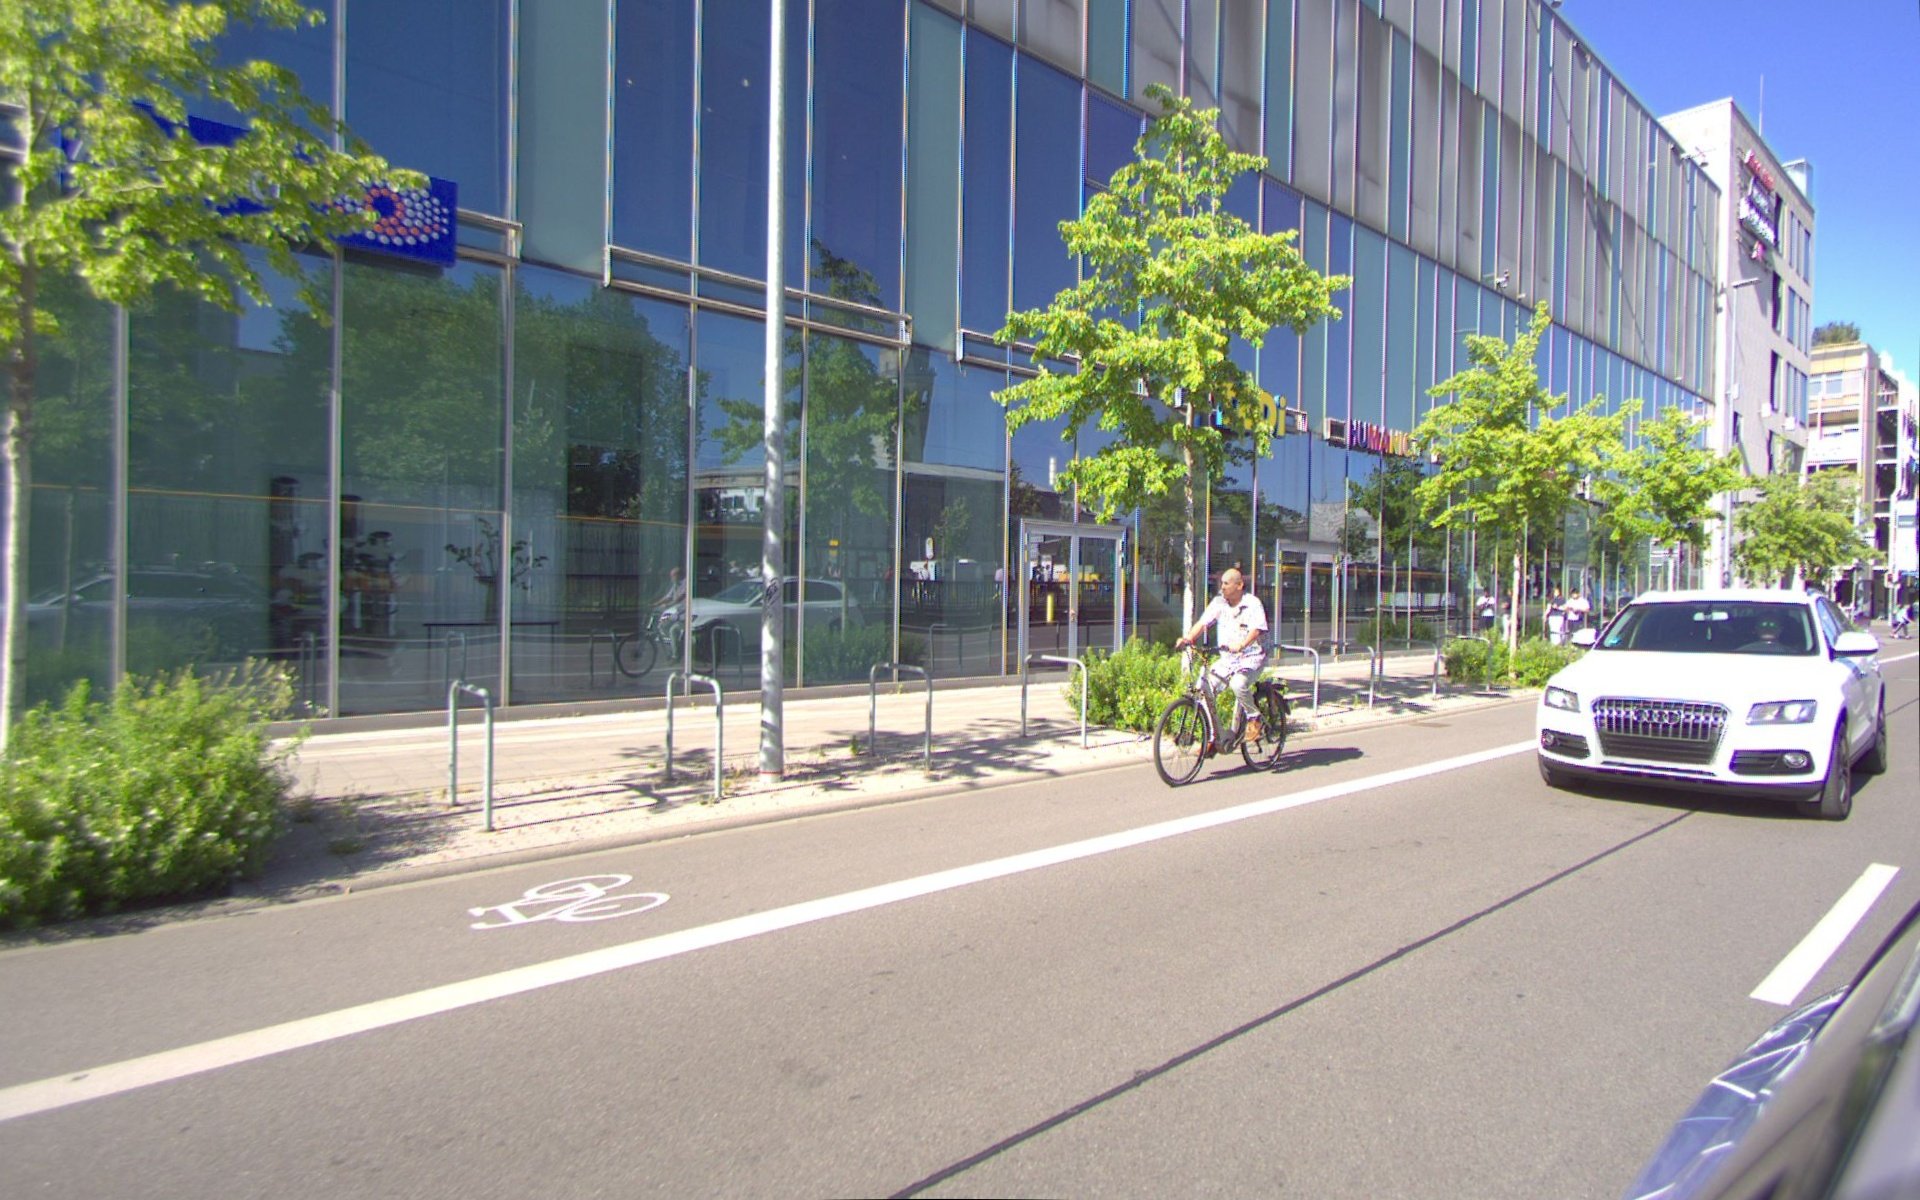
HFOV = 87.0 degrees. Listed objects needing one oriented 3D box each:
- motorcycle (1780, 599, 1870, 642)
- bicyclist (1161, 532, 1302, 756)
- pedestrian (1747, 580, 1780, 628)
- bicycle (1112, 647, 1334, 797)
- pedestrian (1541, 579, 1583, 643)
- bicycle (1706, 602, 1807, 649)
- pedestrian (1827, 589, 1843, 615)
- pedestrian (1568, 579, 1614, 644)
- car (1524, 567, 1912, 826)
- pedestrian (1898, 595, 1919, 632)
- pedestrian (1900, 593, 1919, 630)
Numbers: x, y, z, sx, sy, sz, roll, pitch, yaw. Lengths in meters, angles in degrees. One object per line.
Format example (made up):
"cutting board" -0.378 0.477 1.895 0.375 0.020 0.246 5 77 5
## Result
"motorcycle" 29.969 0.688 35.079 0.886 1.340 2.196 0 2 -35
"bicyclist" 2.301 0.334 8.559 0.981 1.758 0.725 0 1 -44
"pedestrian" 31.472 0.166 39.628 1.047 1.823 0.729 0 3 -40
"bicycle" 2.285 0.956 8.568 2.294 0.996 0.729 0 1 -44
"pedestrian" 16.367 0.290 27.529 0.885 1.678 0.707 0 3 -44
"bicycle" 23.242 0.710 29.573 0.932 1.220 2.094 0 2 -33
"pedestrian" 56.226 0.128 65.035 0.659 1.632 0.519 4 3 42
"pedestrian" 16.584 0.290 26.599 0.885 1.679 0.821 0 1 -44
"car" 6.540 0.606 8.535 4.337 1.634 1.822 0 0 -42
"pedestrian" 43.296 0.609 46.068 0.736 1.628 0.725 2 0 -39
"pedestrian" 44.581 0.533 47.395 0.686 1.723 0.658 1 3 -42
